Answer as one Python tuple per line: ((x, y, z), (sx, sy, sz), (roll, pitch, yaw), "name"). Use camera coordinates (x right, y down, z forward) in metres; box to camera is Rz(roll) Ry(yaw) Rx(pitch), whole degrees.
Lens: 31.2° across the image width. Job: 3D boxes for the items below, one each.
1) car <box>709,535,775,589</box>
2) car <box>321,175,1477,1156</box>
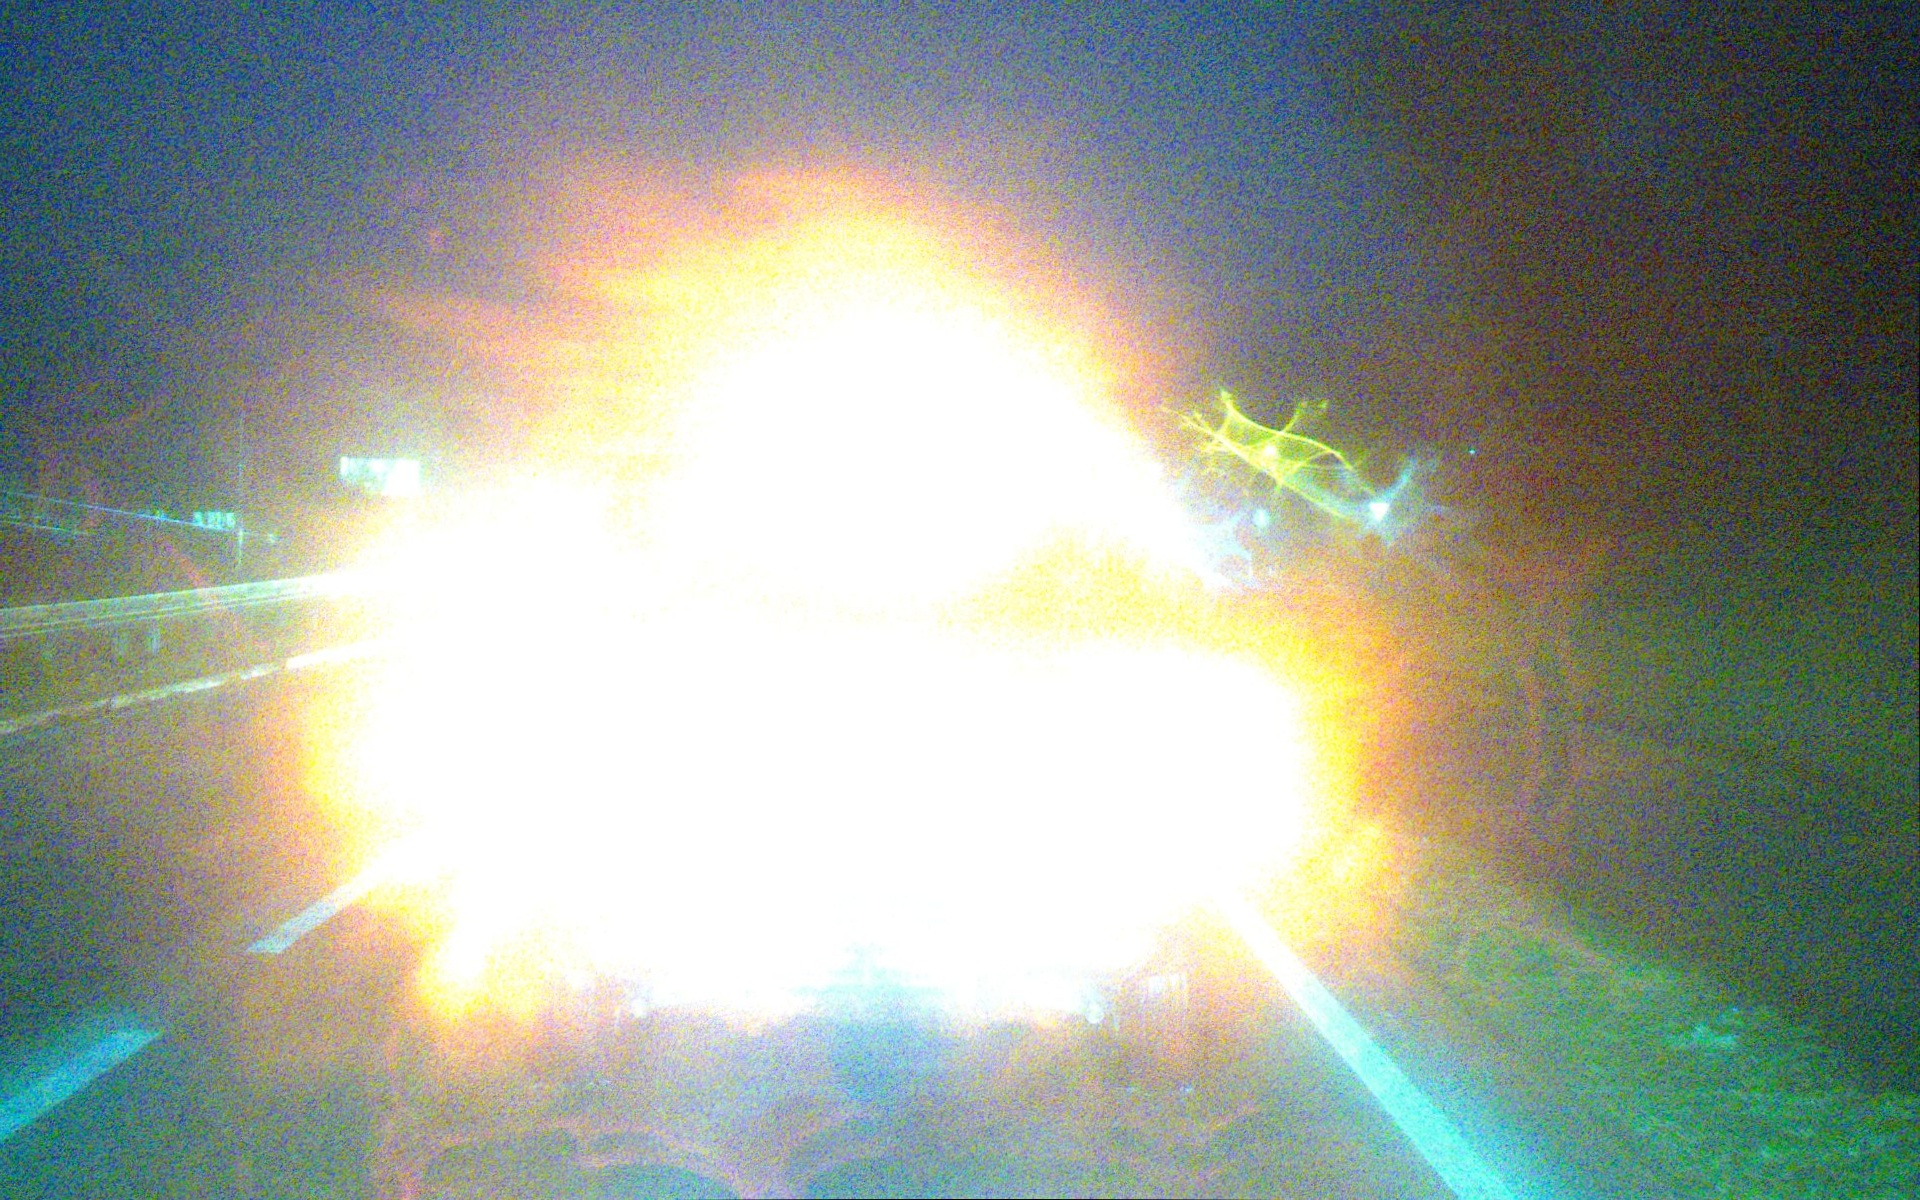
((-6.258, -1.119, 99.078), (1.544, 1.505, 3.880), (1, 1, 1), "car")
((-0.190, 0.091, 11.186), (2.715, 2.299, 6.101), (1, 1, -1), "car")
